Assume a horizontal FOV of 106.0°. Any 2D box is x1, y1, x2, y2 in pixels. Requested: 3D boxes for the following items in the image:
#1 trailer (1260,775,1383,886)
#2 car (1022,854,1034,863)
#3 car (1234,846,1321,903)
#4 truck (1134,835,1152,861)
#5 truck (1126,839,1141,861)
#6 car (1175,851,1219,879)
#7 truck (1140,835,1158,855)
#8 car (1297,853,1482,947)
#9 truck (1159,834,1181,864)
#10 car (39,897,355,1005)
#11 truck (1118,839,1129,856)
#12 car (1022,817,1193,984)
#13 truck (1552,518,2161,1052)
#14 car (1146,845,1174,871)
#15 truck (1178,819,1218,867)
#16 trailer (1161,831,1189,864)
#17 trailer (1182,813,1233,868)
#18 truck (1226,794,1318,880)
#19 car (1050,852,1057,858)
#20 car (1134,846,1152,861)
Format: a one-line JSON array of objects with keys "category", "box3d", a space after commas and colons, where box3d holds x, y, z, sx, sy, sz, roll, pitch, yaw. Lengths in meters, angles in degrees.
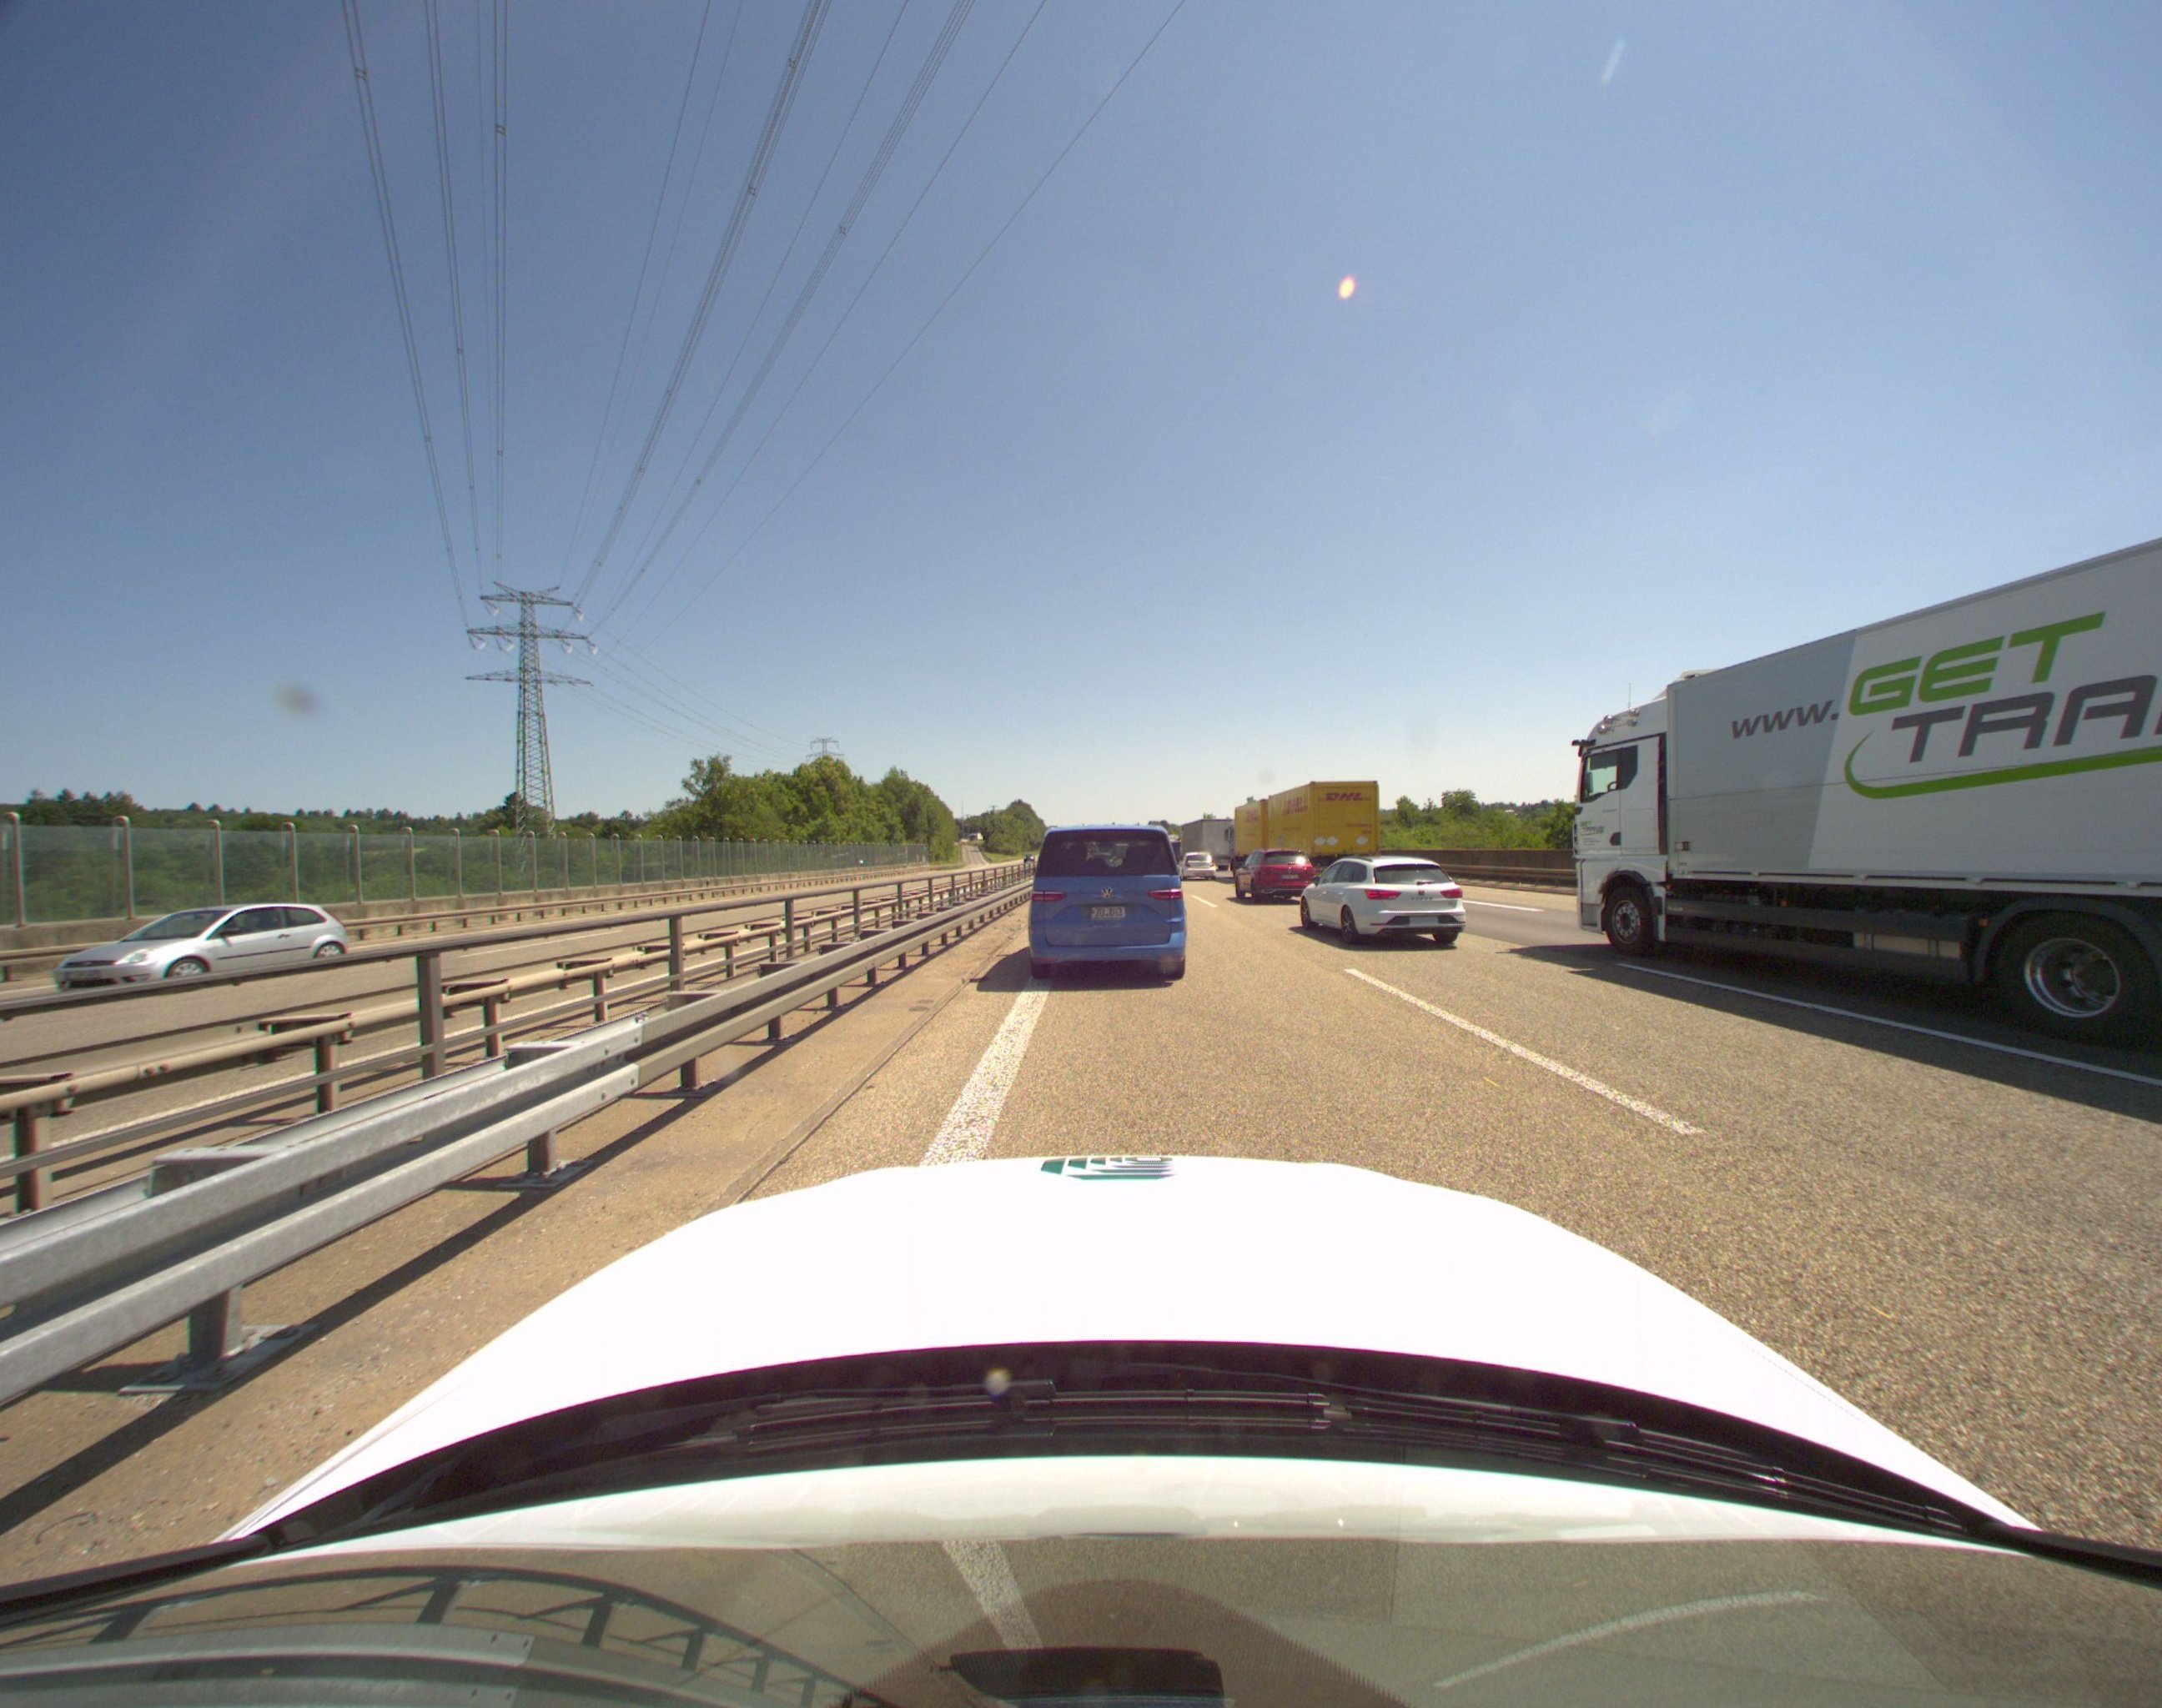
[{"category": "trailer", "box3d": [9.716, -0.807, 34.009, 2.692, 4.023, 8.932, 0, -1, 1]}, {"category": "car", "box3d": [-10.052, 0.773, 154.127, 1.774, 1.569, 4.388, -3, 0, 1]}, {"category": "car", "box3d": [5.993, 0.584, 25.292, 1.844, 1.608, 4.002, -1, 0, 2]}, {"category": "truck", "box3d": [12.474, -1.119, 165.016, 2.824, 5.040, 11.144, 0, -1, 0]}, {"category": "truck", "box3d": [12.427, -0.827, 193.779, 2.824, 5.040, 11.815, 0, -1, 0]}, {"category": "car", "box3d": [6.233, 0.557, 44.119, 1.832, 1.414, 4.000, -1, 0, 0]}, {"category": "truck", "box3d": [12.070, -1.551, 145.270, 2.348, 3.218, 9.739, 0, -1, 0]}, {"category": "car", "box3d": [5.174, 0.693, 14.292, 1.774, 1.387, 4.189, -1, 0, 2]}, {"category": "truck", "box3d": [11.289, -0.614, 103.821, 2.359, 3.722, 6.034, 0, -1, 1]}, {"category": "car", "box3d": [-15.783, 1.650, 14.870, 1.598, 1.394, 3.678, -4, 0, 2]}, {"category": "truck", "box3d": [13.433, -1.968, 260.156, 2.824, 5.373, 12.553, 0, -1, 0]}, {"category": "car", "box3d": [0.358, 0.517, 11.096, 1.875, 1.837, 4.002, -1, 0, 2]}, {"category": "truck", "box3d": [8.777, -0.452, 7.575, 2.840, 3.603, 10.772, 0, 0, 2]}, {"category": "car", "box3d": [6.080, 0.300, 62.840, 1.709, 1.586, 3.823, -6, 4, 2]}, {"category": "truck", "box3d": [10.439, -0.902, 73.456, 2.758, 4.095, 6.986, 0, -1, 1]}, {"category": "trailer", "box3d": [11.199, -0.689, 98.001, 2.371, 3.744, 11.190, 0, -1, 1]}, {"category": "trailer", "box3d": [10.238, -0.935, 67.032, 2.745, 4.146, 11.315, 0, -1, 2]}, {"category": "truck", "box3d": [9.945, -0.762, 43.659, 2.712, 4.054, 10.338, 0, -1, 1]}, {"category": "car", "box3d": [-7.992, 0.212, 236.904, 1.748, 1.547, 4.001, -3, -1, 2]}, {"category": "car", "box3d": [6.645, -0.032, 87.499, 1.709, 1.540, 3.822, -2, 0, 2]}]
